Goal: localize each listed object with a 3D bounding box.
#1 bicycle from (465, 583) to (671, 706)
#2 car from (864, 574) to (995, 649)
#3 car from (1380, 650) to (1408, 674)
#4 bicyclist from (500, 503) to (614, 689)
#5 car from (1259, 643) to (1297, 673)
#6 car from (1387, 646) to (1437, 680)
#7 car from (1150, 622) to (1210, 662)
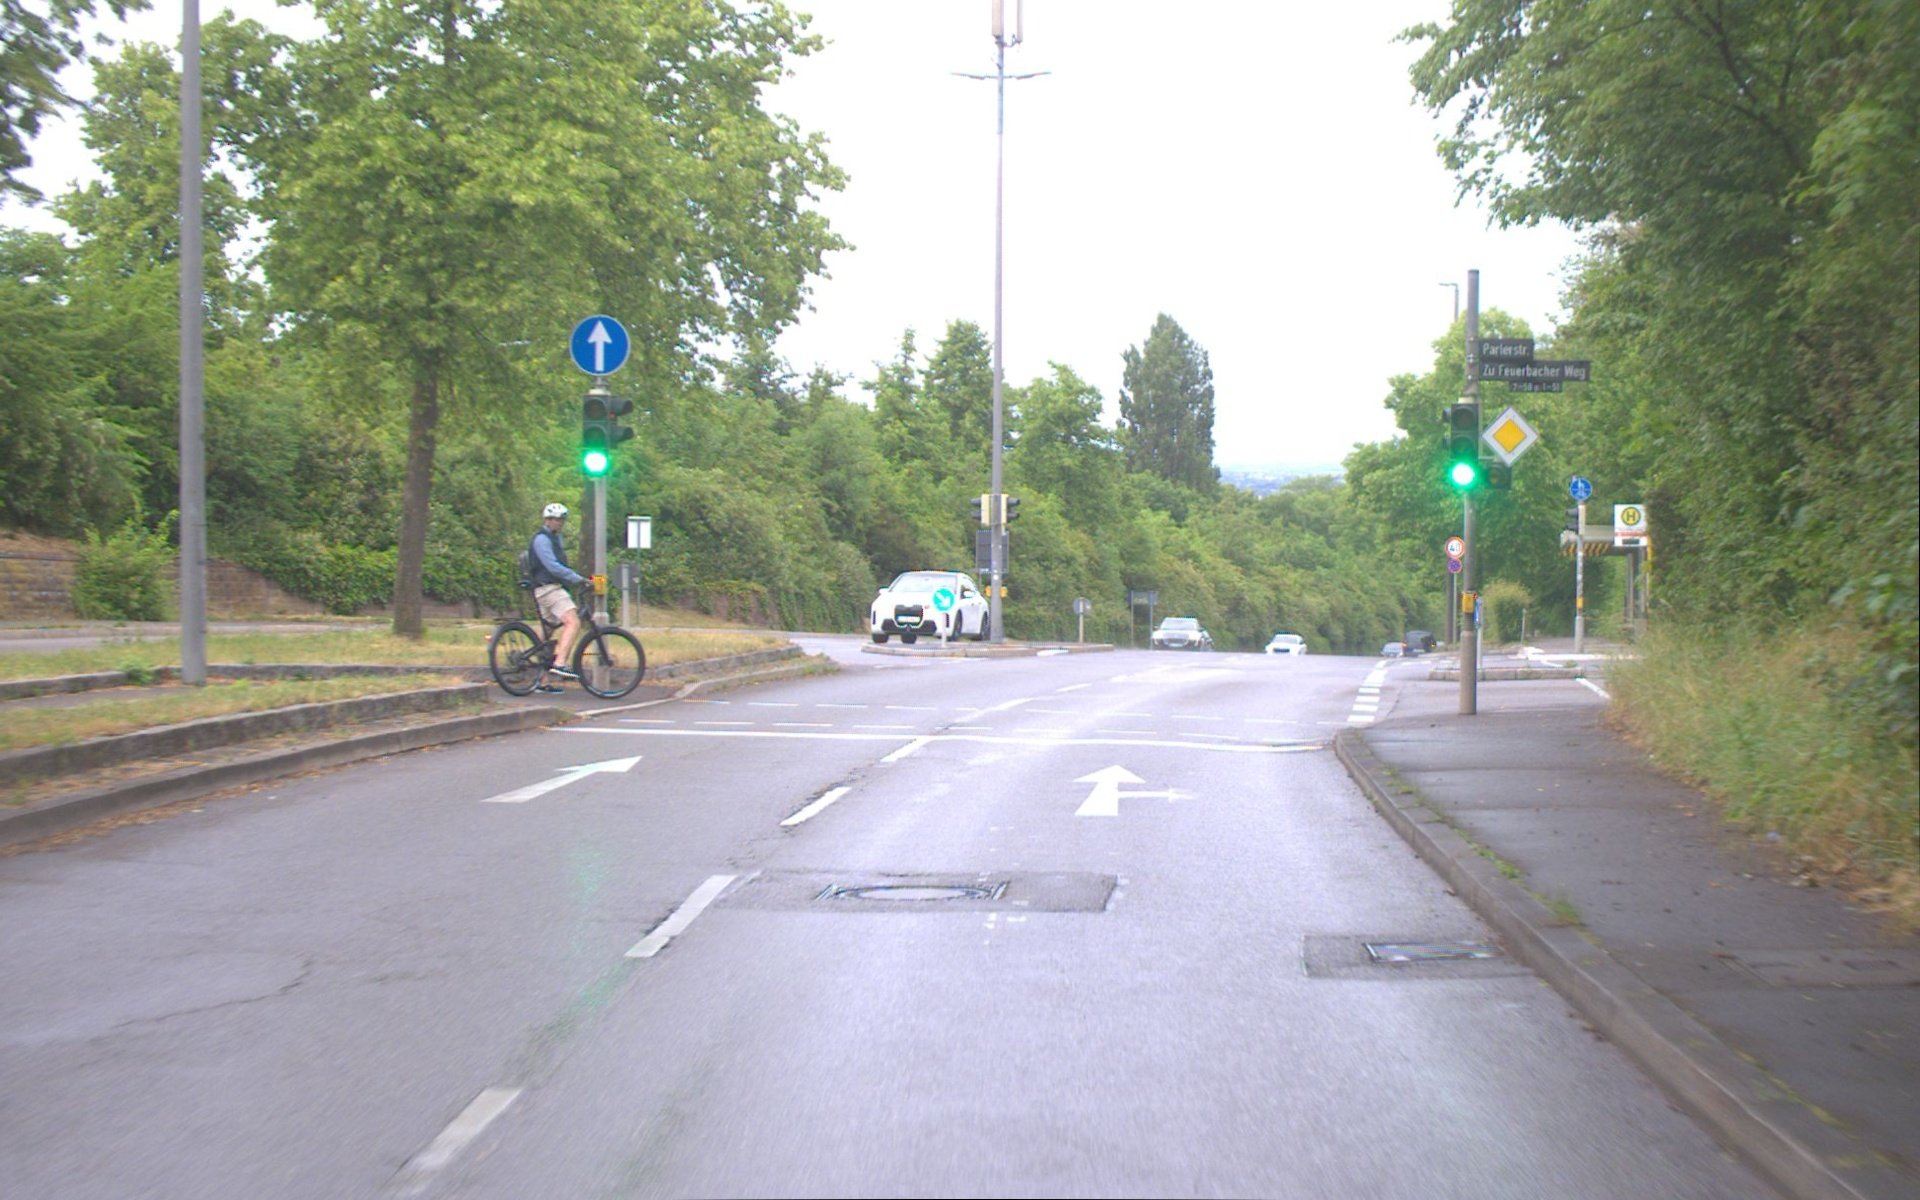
[{"bbox_3d":[-3.752,0.424,33.071,0.553,1.139,2.135,1,0,41],"label":"bicycle"},{"bbox_3d":[-0.662,0.293,79.196,1.946,1.630,5.002,1,-1,12],"label":"car"},{"bbox_3d":[30.293,4.332,239.699,1.725,1.560,3.891,3,-1,9],"label":"car"},{"bbox_3d":[-3.878,-0.024,33.096,0.724,1.746,0.799,-3,-3,41],"label":"bicyclist"},{"bbox_3d":[17.781,3.209,191.947,1.724,1.585,3.998,1,0,11],"label":"car"},{"bbox_3d":[22.439,3.114,170.714,1.946,1.585,3.925,1,0,15],"label":"car"},{"bbox_3d":[8.468,1.636,132.106,1.779,1.467,4.642,1,-1,10],"label":"car"}]
